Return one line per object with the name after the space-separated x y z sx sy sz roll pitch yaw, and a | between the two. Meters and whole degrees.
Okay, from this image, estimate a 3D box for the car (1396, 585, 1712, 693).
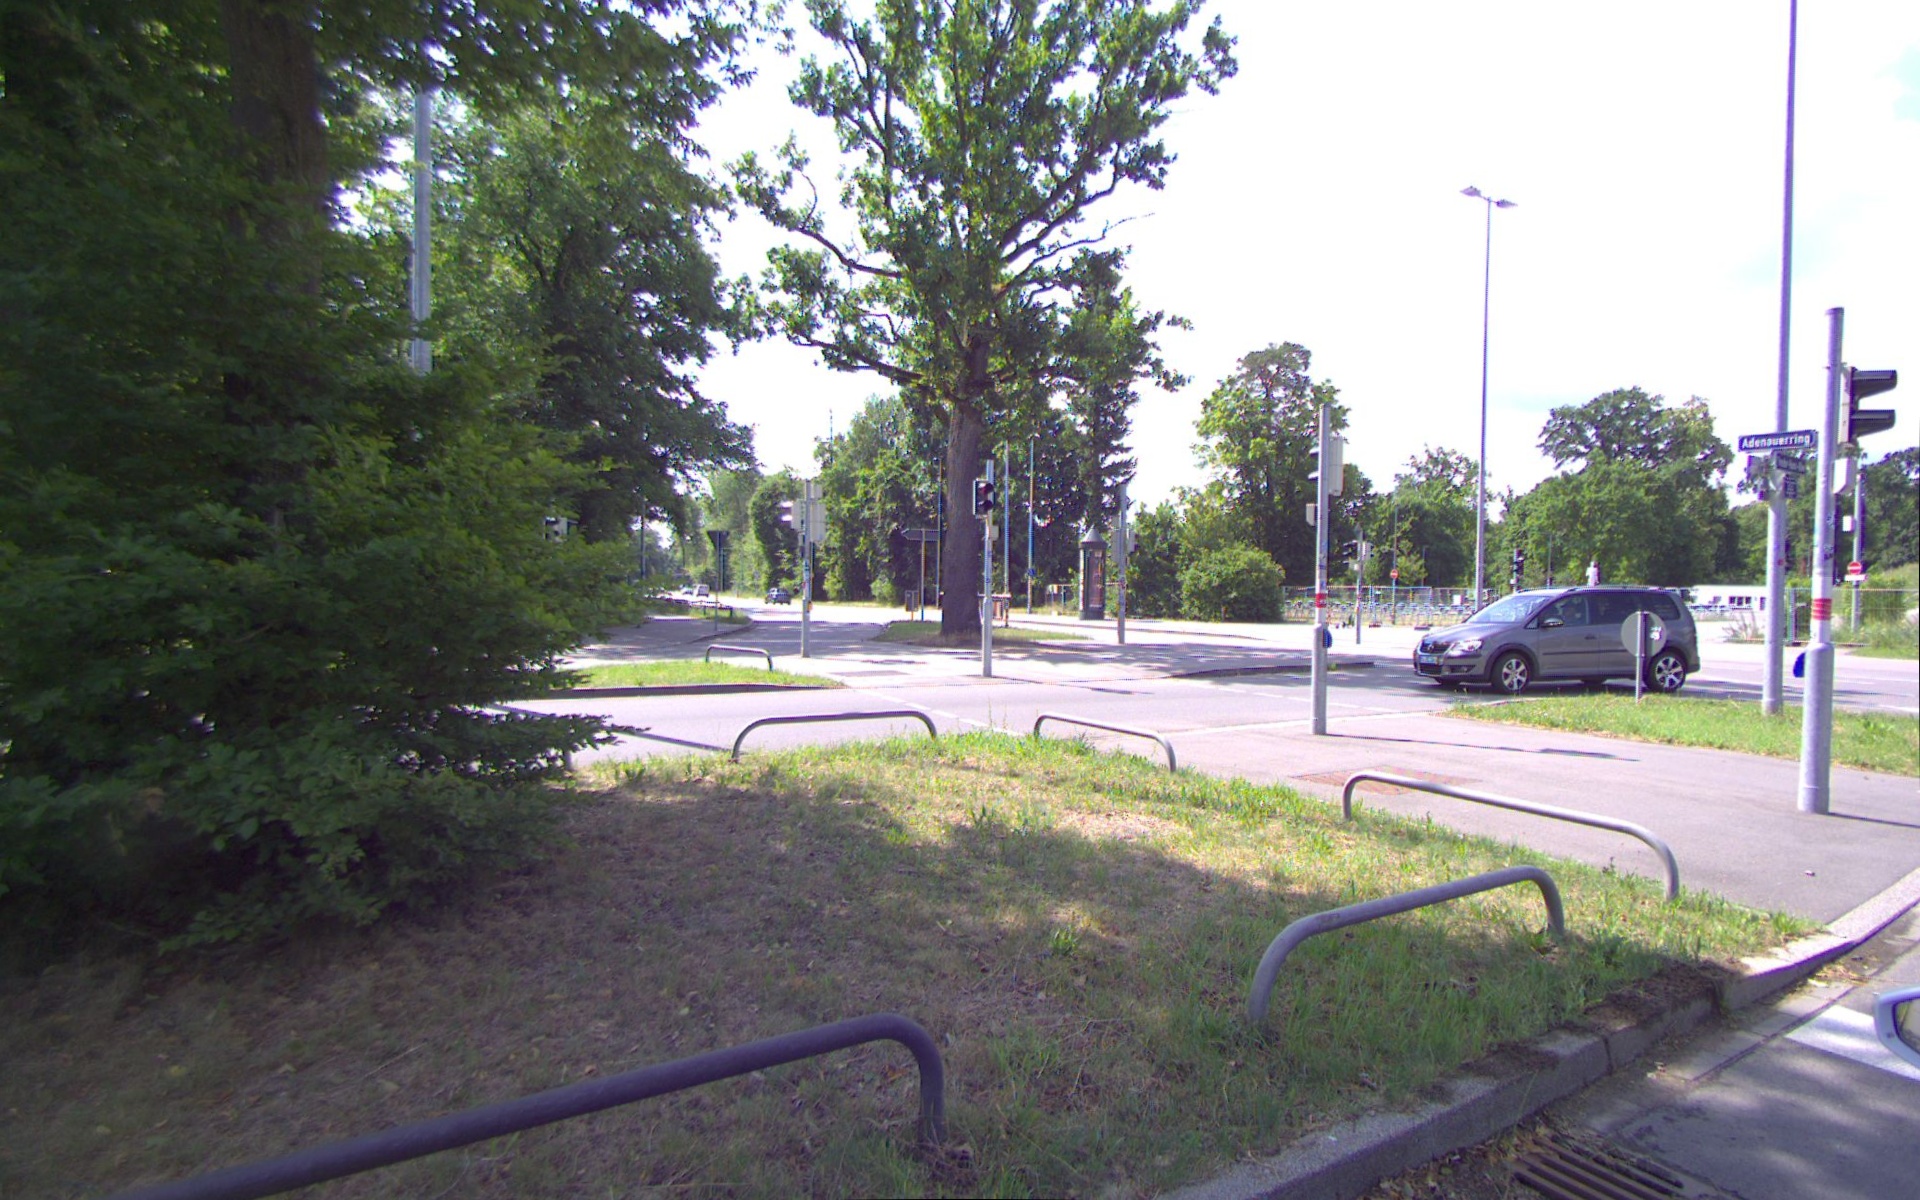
9.625 0.608 16.461 4.217 1.651 1.765 1 0 -5 | car

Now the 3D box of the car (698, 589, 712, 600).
-40.332 -0.831 158.804 1.689 1.714 3.698 2 0 -20 | car

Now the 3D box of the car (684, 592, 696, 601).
-50.315 -0.666 187.406 1.810 1.514 4.088 2 0 -20 | car

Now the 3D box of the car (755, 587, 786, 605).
-17.533 -0.378 92.780 1.848 1.529 4.020 2 0 -26 | car

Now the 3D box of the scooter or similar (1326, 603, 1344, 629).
18.338 0.771 49.095 0.399 1.216 1.312 0 1 0 | scooter or similar

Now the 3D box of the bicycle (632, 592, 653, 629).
-10.458 0.337 33.109 0.413 1.189 1.228 2 0 -8 | bicycle

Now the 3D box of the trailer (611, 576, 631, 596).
-42.524 -1.708 125.847 1.972 2.420 3.976 2 0 -24 | trailer
